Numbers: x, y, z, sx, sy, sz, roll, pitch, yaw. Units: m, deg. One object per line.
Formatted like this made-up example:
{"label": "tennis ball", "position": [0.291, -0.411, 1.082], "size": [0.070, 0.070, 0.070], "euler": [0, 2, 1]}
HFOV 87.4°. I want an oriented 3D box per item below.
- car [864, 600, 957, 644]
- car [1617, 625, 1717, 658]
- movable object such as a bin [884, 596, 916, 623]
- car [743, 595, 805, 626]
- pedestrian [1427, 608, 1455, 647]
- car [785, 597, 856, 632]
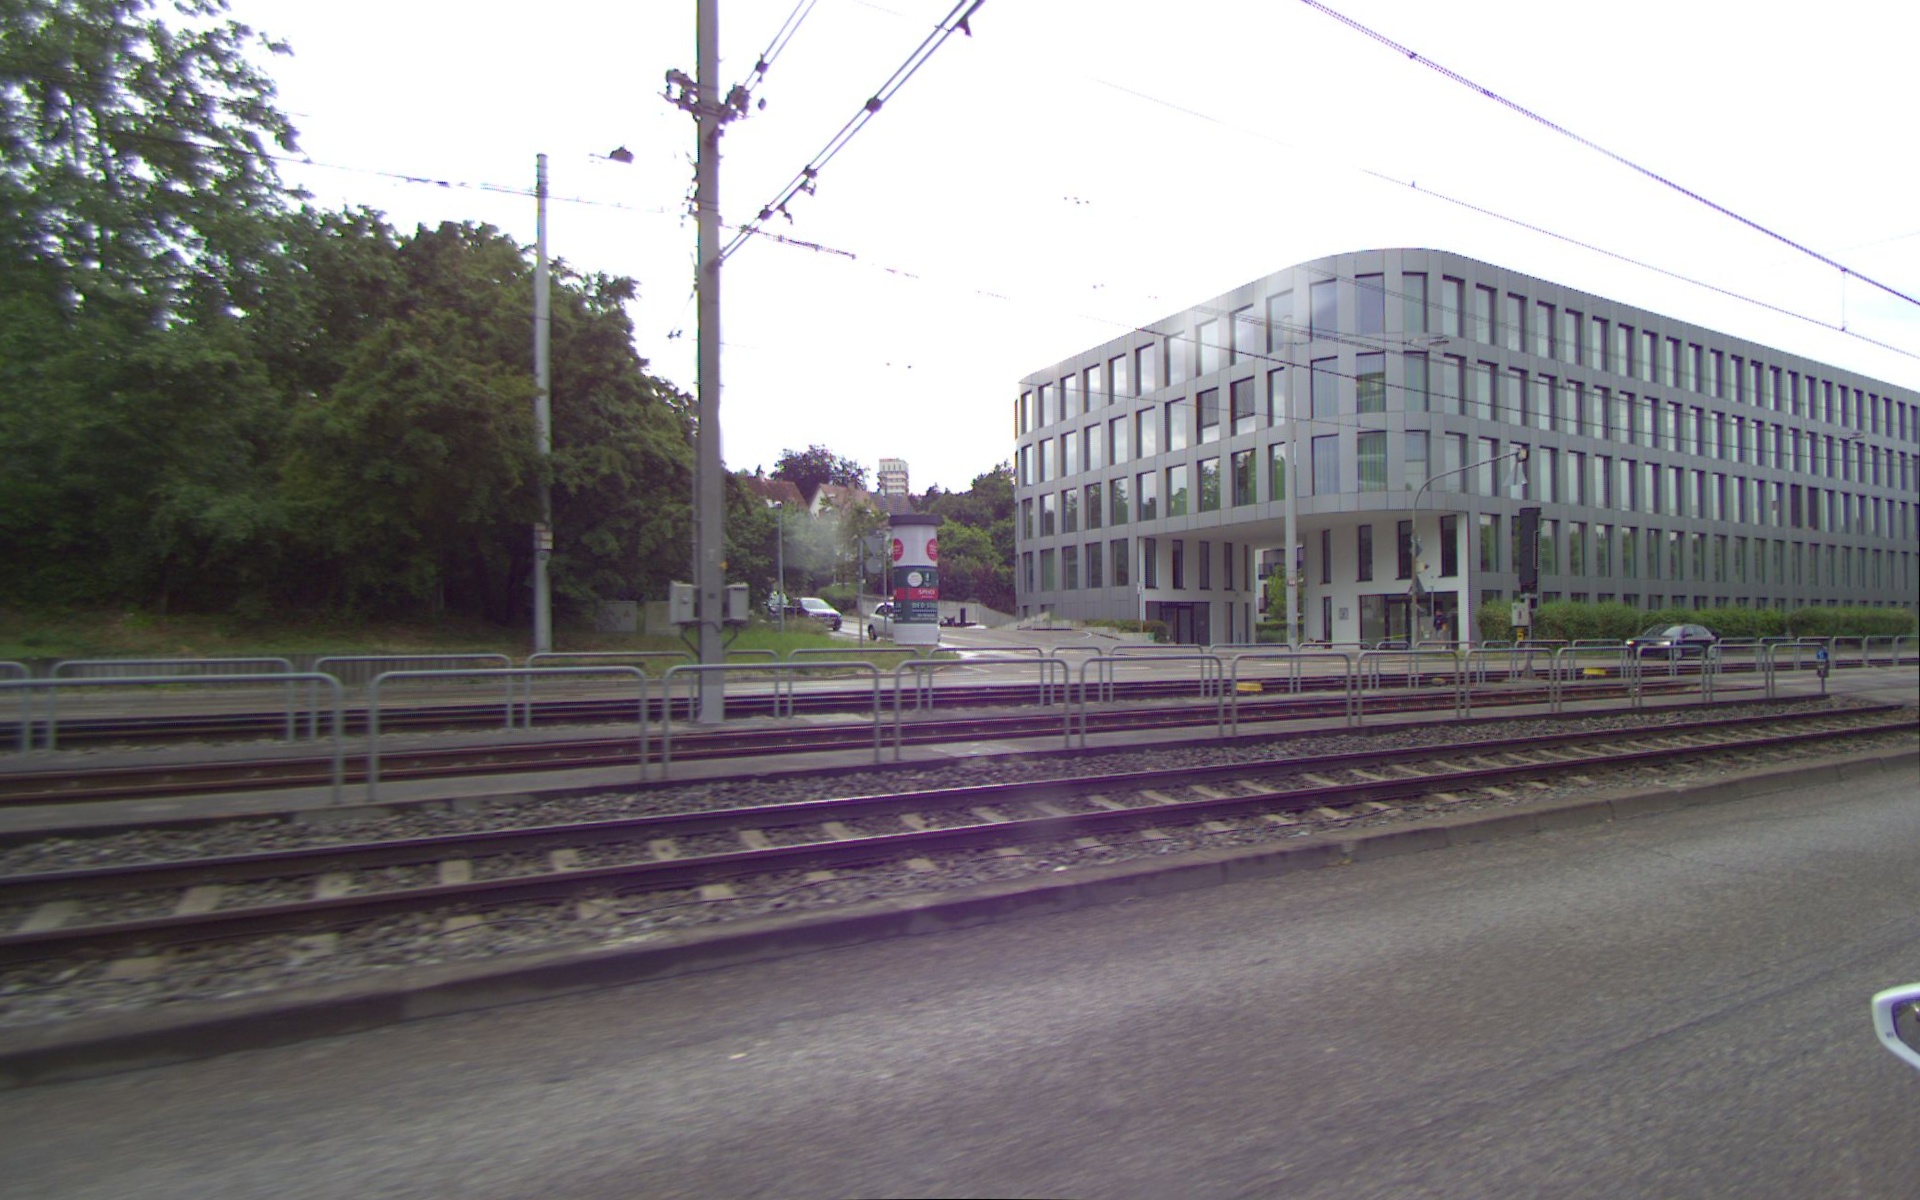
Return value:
{"label": "car", "position": [-1.960, 0.815, 38.690], "size": [1.904, 1.472, 3.898], "euler": [1, 1, -31]}
{"label": "car", "position": [27.730, 1.627, 39.381], "size": [3.940, 1.260, 1.748], "euler": [2, -2, -30]}
{"label": "movable object such as a bin", "position": [-3.315, 0.530, 55.253], "size": [1.261, 1.414, 1.258], "euler": [1, 1, -37]}
{"label": "car", "position": [-9.763, 0.549, 52.437], "size": [1.852, 1.429, 4.052], "euler": [1, 1, -31]}
{"label": "pedestrian", "position": [20.872, 1.198, 43.583], "size": [0.835, 1.669, 0.721], "euler": [2, -1, -29]}
{"label": "car", "position": [-6.644, 0.672, 47.403], "size": [1.852, 1.472, 4.052], "euler": [1, 1, -31]}
